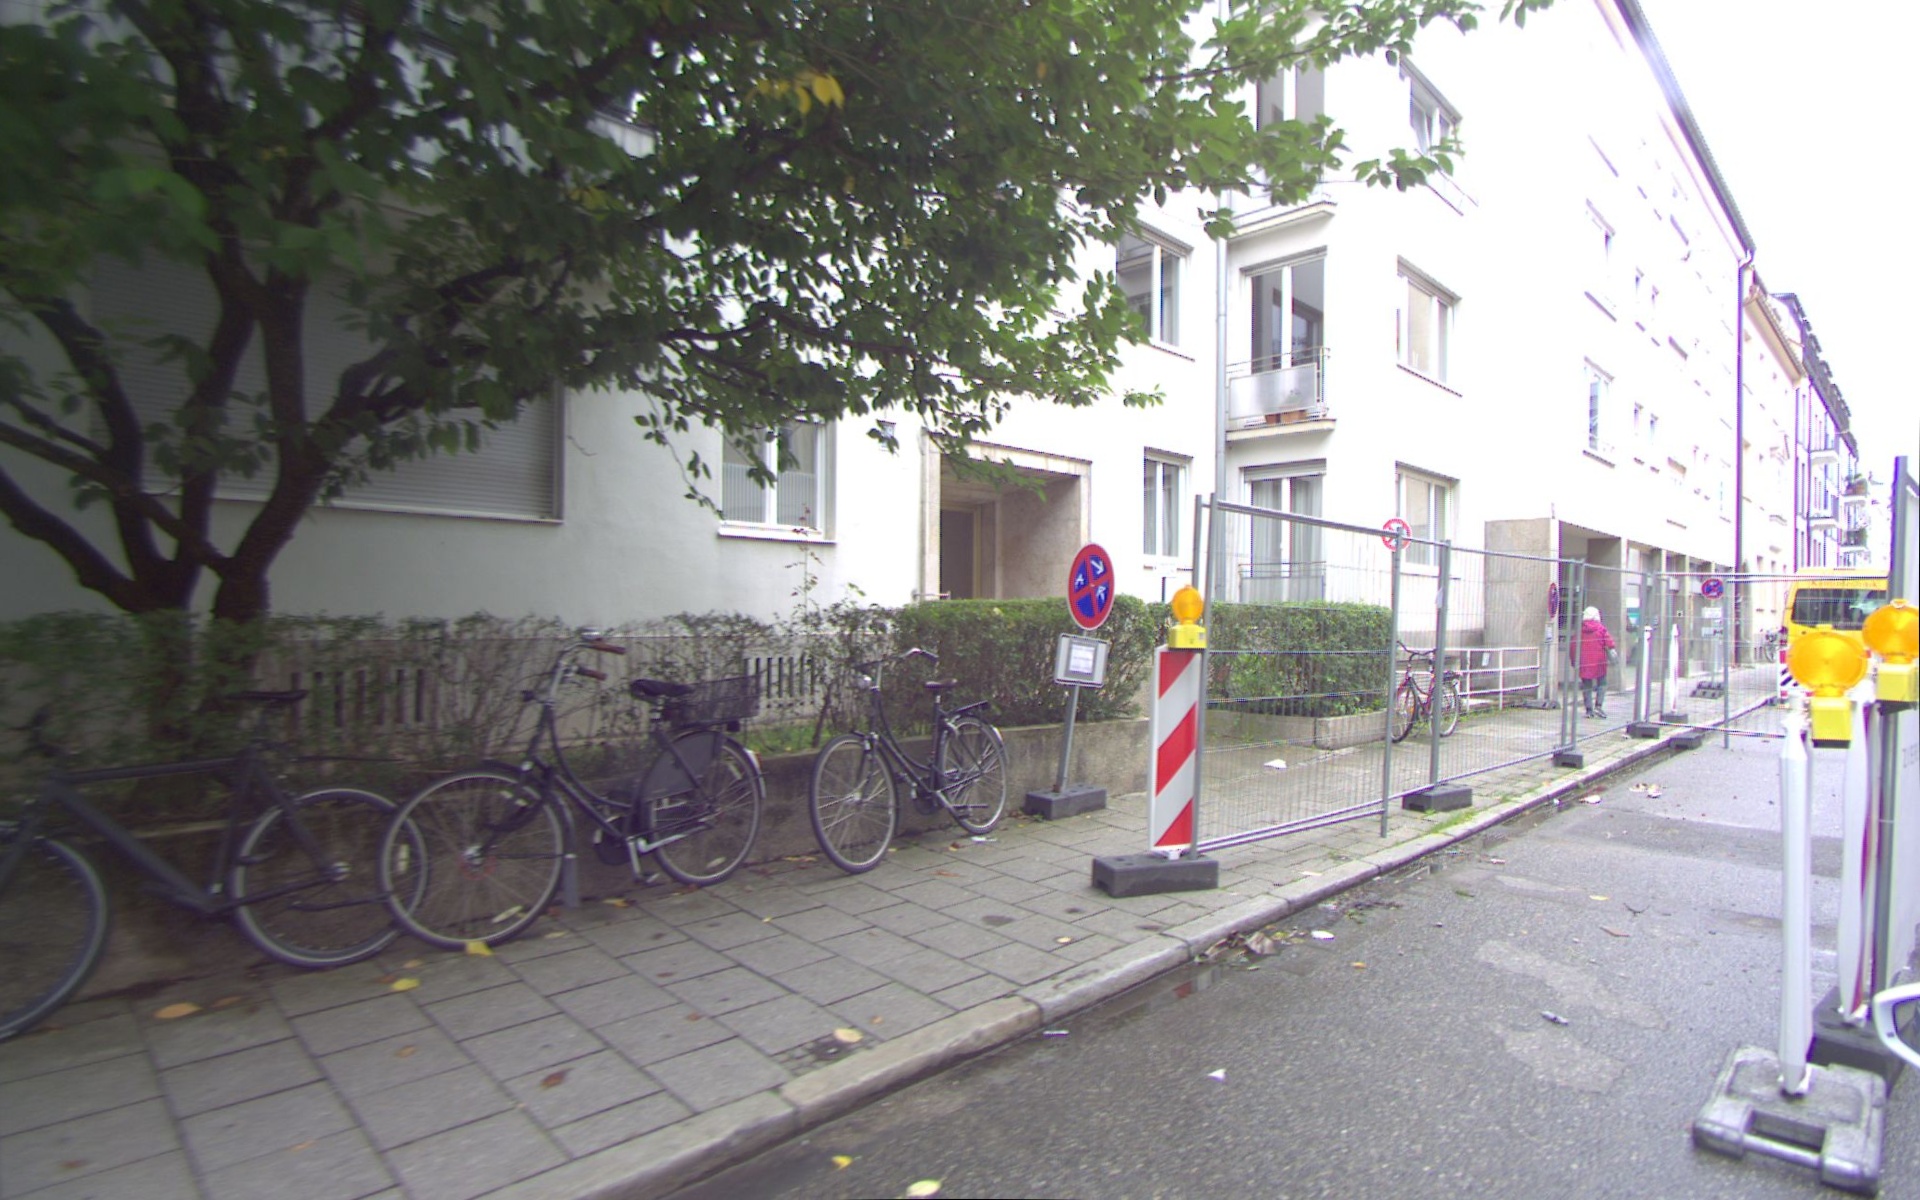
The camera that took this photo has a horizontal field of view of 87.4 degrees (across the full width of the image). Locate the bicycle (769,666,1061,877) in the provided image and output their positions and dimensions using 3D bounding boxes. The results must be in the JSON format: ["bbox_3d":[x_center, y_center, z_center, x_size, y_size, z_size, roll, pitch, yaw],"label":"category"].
[{"bbox_3d":[-0.193,0.905,5.780,1.804,0.991,0.439,3,1,-44],"label":"bicycle"}]

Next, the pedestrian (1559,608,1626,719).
[{"bbox_3d":[9.180,0.894,14.582,0.742,1.552,0.632,1,0,-43],"label":"pedestrian"}]

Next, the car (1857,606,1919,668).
[{"bbox_3d":[31.143,1.206,33.404,1.709,1.922,5.475,-2,-3,44],"label":"car"}]

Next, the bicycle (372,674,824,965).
[{"bbox_3d":[-1.505,0.862,4.471,1.841,0.991,0.439,3,1,-44],"label":"bicycle"}]

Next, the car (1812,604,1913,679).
[{"bbox_3d":[25.201,1.142,28.027,1.897,1.922,4.763,-2,-3,43],"label":"car"}]

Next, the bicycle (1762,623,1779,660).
[{"bbox_3d":[28.430,1.442,35.246,0.376,1.204,2.127,2,1,37],"label":"bicycle"}]

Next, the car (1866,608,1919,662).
[{"bbox_3d":[35.372,1.305,37.754,1.883,1.922,5.063,0,-1,41],"label":"car"}]

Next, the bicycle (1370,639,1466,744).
[{"bbox_3d":[5.257,1.013,11.490,1.587,1.077,0.373,1,5,-45],"label":"bicycle"}]

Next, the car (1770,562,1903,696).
[{"bbox_3d":[19.928,0.634,22.711,1.973,2.613,6.696,-1,-1,44],"label":"car"}]

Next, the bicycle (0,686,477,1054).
[{"bbox_3d":[-2.603,0.829,3.375,1.687,0.991,0.431,3,1,-44],"label":"bicycle"}]
